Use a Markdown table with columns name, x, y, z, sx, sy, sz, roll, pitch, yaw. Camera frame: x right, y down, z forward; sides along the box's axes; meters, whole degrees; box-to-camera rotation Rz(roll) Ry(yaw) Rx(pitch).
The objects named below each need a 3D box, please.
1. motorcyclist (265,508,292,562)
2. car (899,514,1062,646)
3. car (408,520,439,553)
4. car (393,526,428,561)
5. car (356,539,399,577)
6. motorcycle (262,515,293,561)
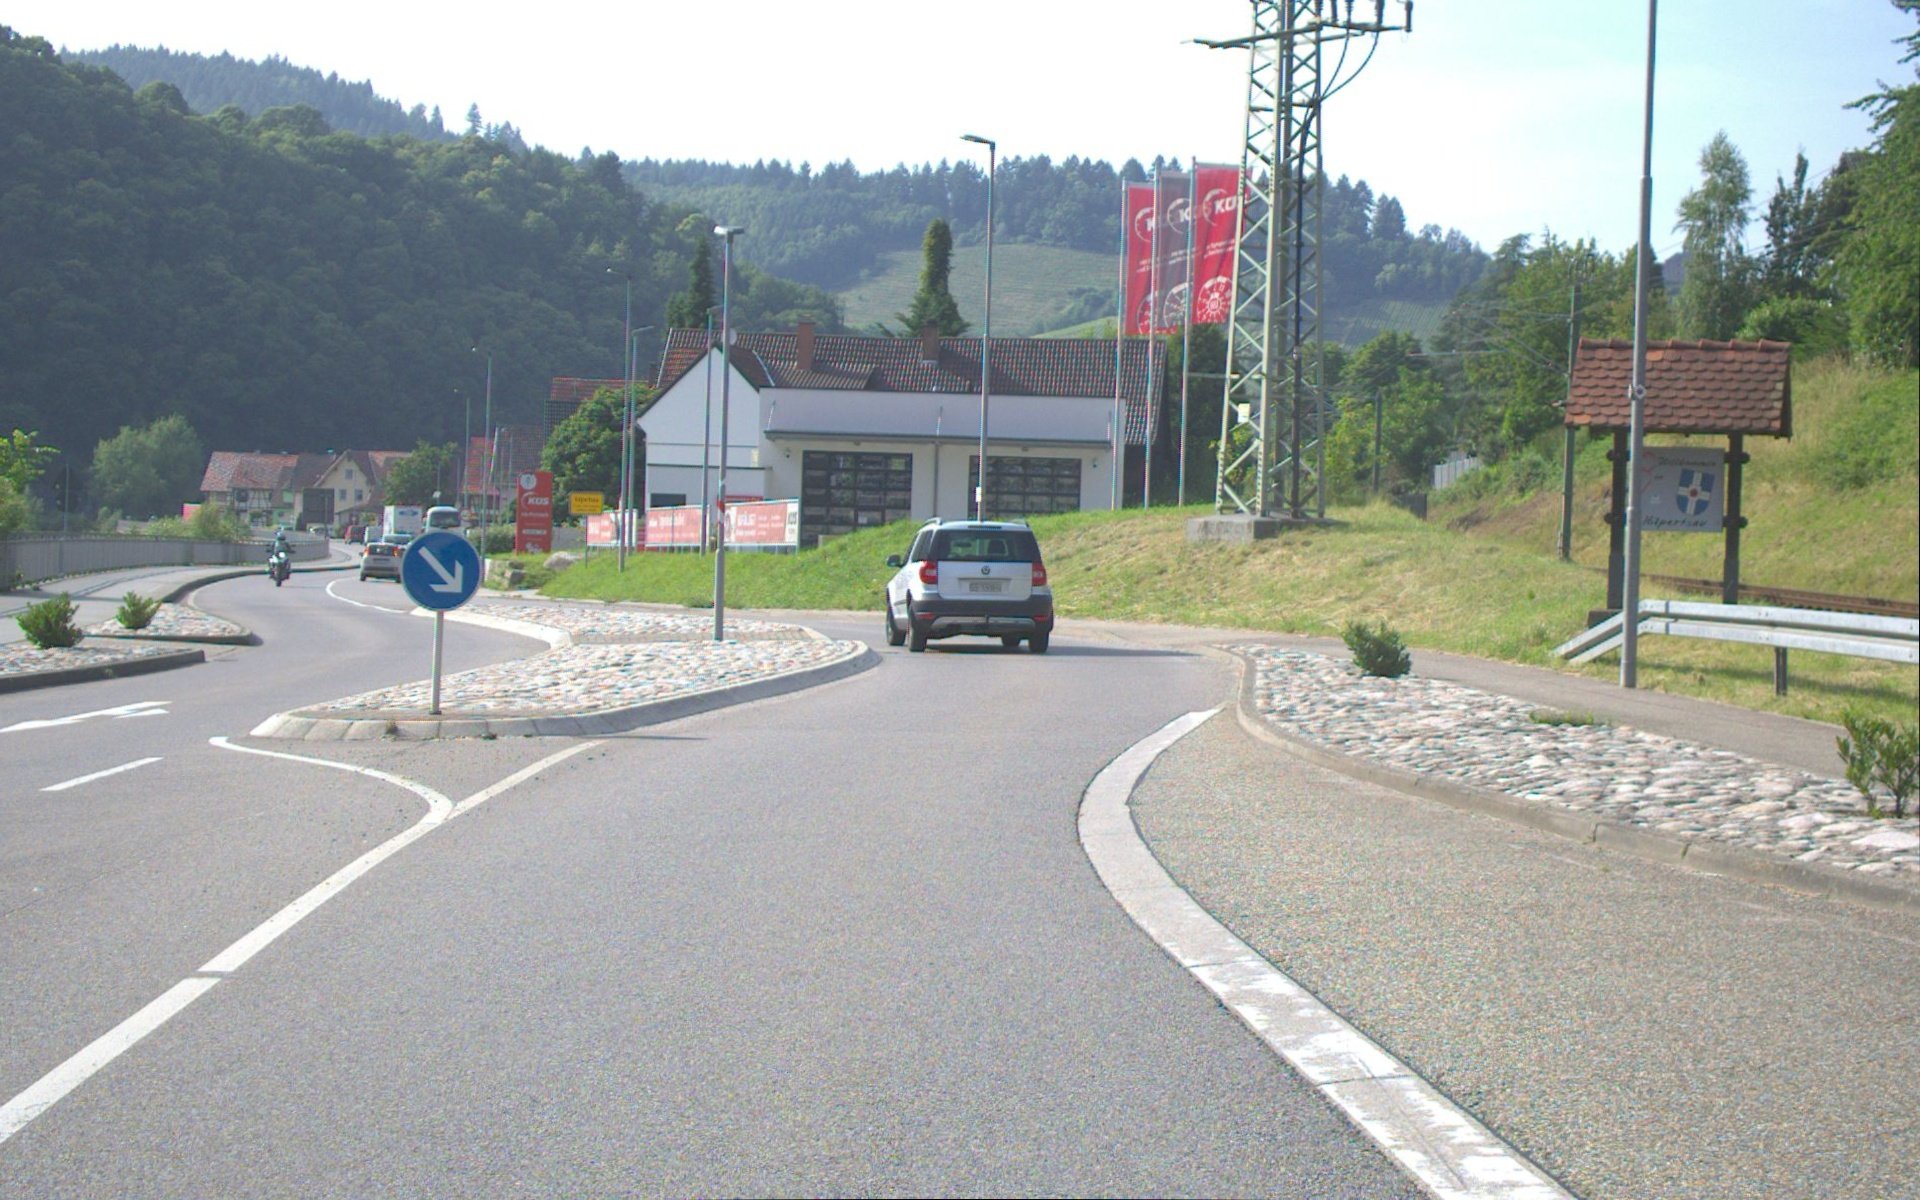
| name | x | y | z | sx | sy | sz | roll | pitch | yaw |
| --- | --- | --- | --- | --- | --- | --- | --- | --- | --- |
| motorcyclist | -21.294 | -2.039 | 107.374 | 0.763 | 1.672 | 0.727 | 1 | 0 | -7 |
| car | 0.217 | -0.268 | 44.232 | 1.861 | 1.539 | 4.373 | 2 | 1 | -2 |
| car | -25.172 | -2.972 | 161.295 | 1.292 | 1.430 | 2.807 | 2 | 2 | -7 |
| car | -23.887 | -2.454 | 149.589 | 1.356 | 1.430 | 2.839 | 2 | 2 | -7 |
| car | -23.484 | -1.706 | 138.645 | 1.453 | 1.430 | 2.936 | 2 | 2 | -6 |
| motorcycle | -21.302 | -1.932 | 107.337 | 0.772 | 1.417 | 2.319 | 1 | 1 | -8 |
